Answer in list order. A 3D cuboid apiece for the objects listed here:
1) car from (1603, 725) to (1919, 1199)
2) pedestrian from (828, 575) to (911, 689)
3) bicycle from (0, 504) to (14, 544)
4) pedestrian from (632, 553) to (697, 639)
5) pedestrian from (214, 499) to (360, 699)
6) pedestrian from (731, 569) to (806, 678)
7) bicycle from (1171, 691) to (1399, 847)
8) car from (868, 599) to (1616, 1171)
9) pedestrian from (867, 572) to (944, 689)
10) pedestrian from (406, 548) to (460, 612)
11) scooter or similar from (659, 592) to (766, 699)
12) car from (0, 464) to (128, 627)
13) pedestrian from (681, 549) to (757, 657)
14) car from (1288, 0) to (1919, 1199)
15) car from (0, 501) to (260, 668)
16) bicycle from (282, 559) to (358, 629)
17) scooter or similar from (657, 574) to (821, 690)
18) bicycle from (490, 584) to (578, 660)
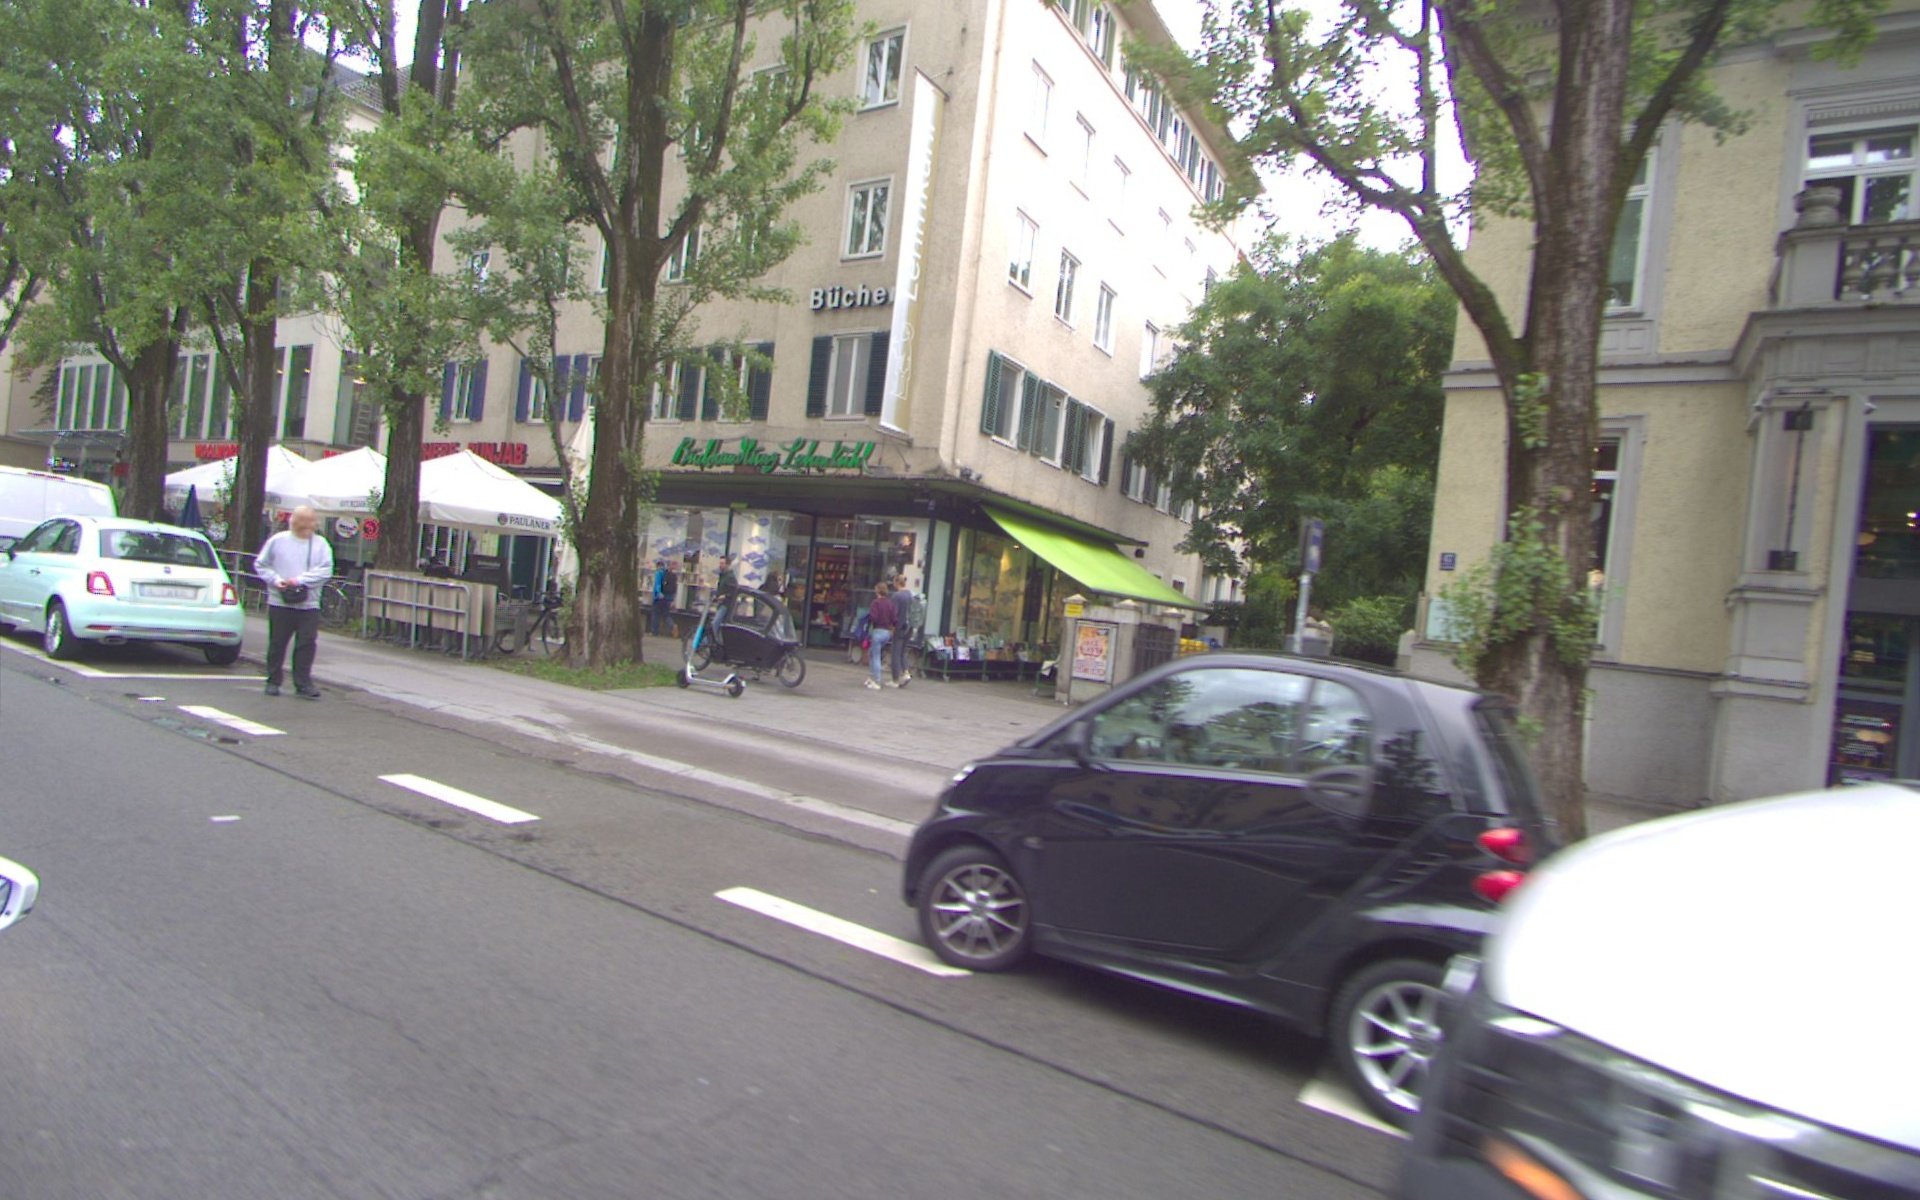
[{"bbox_3d":[4.432,1.402,2.720,4.268,1.410,1.714,7,-1,28],"label":"car"},{"bbox_3d":[-1.439,0.507,16.046,0.862,1.700,0.798,7,2,32],"label":"pedestrian"},{"bbox_3d":[-30.822,-2.464,31.039,0.616,1.219,2.230,7,0,30],"label":"bicycle"},{"bbox_3d":[-6.291,-0.089,21.415,0.862,1.698,0.798,7,0,31],"label":"pedestrian"},{"bbox_3d":[-6.473,-0.004,9.680,0.858,1.795,0.826,7,0,40],"label":"pedestrian"},{"bbox_3d":[-3.049,0.364,16.043,0.855,1.627,0.617,7,2,29],"label":"pedestrian"},{"bbox_3d":[2.621,1.355,8.215,1.597,1.006,0.510,7,0,4],"label":"bicycle"},{"bbox_3d":[1.219,0.965,4.527,2.684,1.536,1.595,7,-1,31],"label":"car"},{"bbox_3d":[-0.895,0.493,16.641,0.862,1.821,0.771,7,4,32],"label":"pedestrian"},{"bbox_3d":[-11.859,-0.451,22.634,0.787,1.340,0.639,7,1,31],"label":"pedestrian"},{"bbox_3d":[-3.256,0.578,13.168,1.419,1.231,0.327,6,2,28],"label":"scooter or similar"},{"bbox_3d":[-13.809,-0.906,14.104,4.652,1.969,1.790,7,-1,32],"label":"car"},{"bbox_3d":[-4.486,0.060,18.754,0.735,1.888,0.957,7,0,33],"label":"pedestrian"},{"bbox_3d":[3.750,0.703,0.302,6.619,2.522,2.066,7,-1,32],"label":"car"},{"bbox_3d":[-9.708,-0.215,11.440,3.465,1.510,1.543,6,-1,33],"label":"car"},{"bbox_3d":[-10.595,-0.105,16.647,1.429,1.009,0.349,6,2,28],"label":"bicycle"},{"bbox_3d":[-3.342,0.453,15.091,2.451,1.394,0.637,8,2,28],"label":"scooter or similar"},{"bbox_3d":[-6.431,0.325,15.170,1.429,1.009,0.349,6,2,28],"label":"bicycle"}]
